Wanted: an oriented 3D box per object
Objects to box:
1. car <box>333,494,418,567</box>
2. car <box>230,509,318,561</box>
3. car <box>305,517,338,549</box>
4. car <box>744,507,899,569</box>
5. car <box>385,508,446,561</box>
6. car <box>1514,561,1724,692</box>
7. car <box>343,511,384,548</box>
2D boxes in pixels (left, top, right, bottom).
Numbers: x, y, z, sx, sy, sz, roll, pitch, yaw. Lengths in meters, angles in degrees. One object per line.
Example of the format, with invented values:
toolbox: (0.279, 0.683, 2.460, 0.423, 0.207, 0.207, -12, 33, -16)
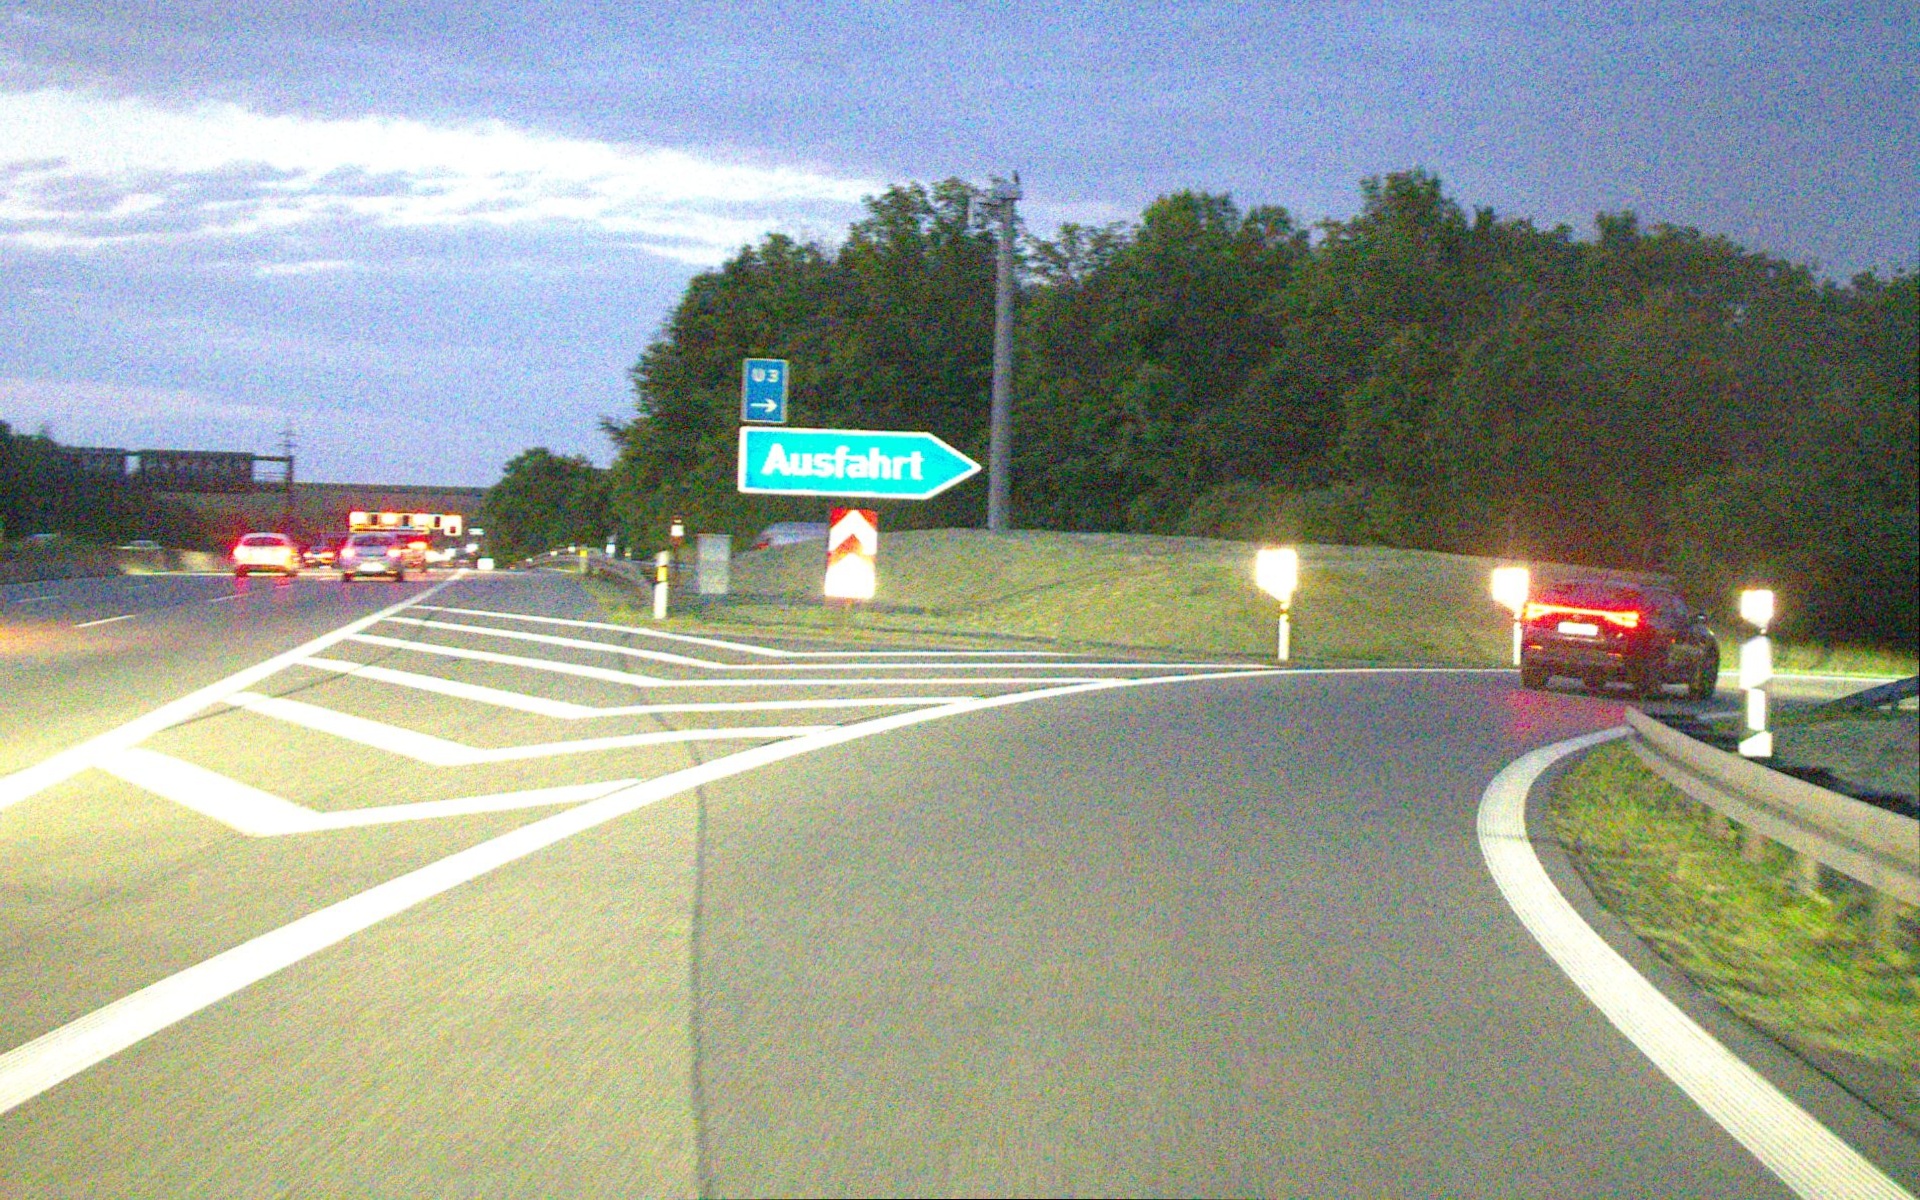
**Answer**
car: (-16.675, -1.988, 98.217, 1.993, 2.007, 4.001, 1, 1, -4)
car: (-22.339, -2.130, 112.128, 1.993, 1.637, 4.555, 1, 2, -1)
car: (-42.068, -4.422, 226.569, 2.104, 2.006, 4.001, 0, 2, -11)
car: (-5.106, -2.293, 126.607, 5.136, 2.007, 2.265, 3, 1, 27)
car: (-21.279, -2.570, 134.500, 1.993, 2.006, 4.001, 0, 2, -3)
car: (9.332, 0.326, 48.440, 1.996, 1.653, 4.310, 3, 2, 23)
car: (-33.532, -3.963, 193.145, 2.070, 2.006, 4.001, 0, 2, -13)
